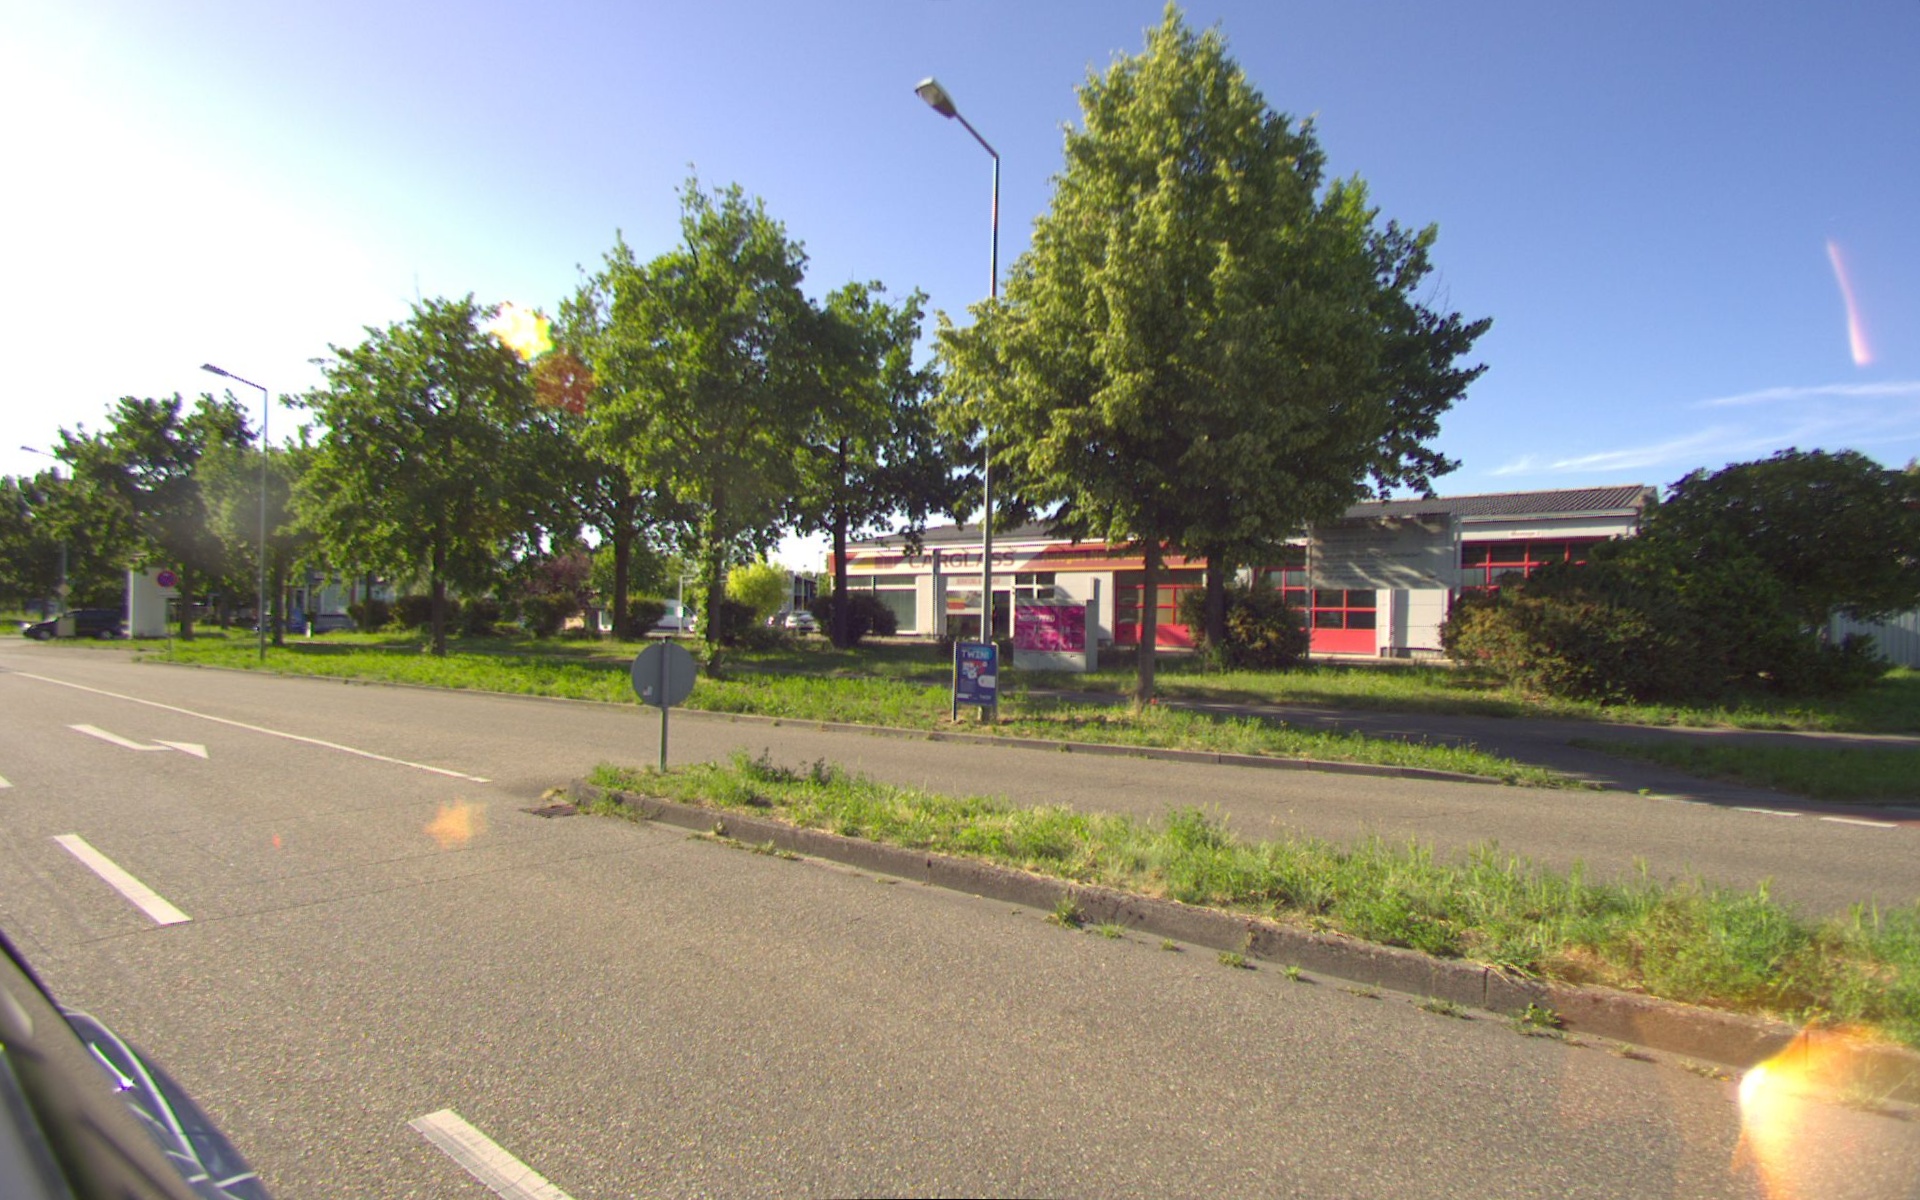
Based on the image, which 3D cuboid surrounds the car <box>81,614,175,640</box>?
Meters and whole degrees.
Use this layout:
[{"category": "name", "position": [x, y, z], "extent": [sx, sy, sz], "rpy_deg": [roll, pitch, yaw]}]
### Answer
[{"category": "car", "position": [-49.374, 1.611, 60.084], "extent": [4.152, 1.497, 1.779], "rpy_deg": [1, -2, -45]}]

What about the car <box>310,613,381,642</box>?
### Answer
[{"category": "car", "position": [-43.320, 1.954, 71.358], "extent": [3.938, 2.029, 2.003], "rpy_deg": [2, -2, -41]}]

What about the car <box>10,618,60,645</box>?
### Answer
[{"category": "car", "position": [-52.730, 1.776, 57.680], "extent": [4.216, 1.497, 1.752], "rpy_deg": [-1, -3, 44]}]

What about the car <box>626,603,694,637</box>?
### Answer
[{"category": "car", "position": [-20.452, 1.381, 69.146], "extent": [1.775, 2.234, 4.161], "rpy_deg": [-1, -2, 38]}]

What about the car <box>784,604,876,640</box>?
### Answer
[{"category": "car", "position": [-6.251, 1.032, 48.928], "extent": [1.995, 1.599, 4.186], "rpy_deg": [-1, 0, 39]}]

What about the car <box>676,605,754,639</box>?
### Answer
[{"category": "car", "position": [-15.291, 1.342, 63.240], "extent": [1.995, 1.960, 4.436], "rpy_deg": [-1, 0, 39]}]
